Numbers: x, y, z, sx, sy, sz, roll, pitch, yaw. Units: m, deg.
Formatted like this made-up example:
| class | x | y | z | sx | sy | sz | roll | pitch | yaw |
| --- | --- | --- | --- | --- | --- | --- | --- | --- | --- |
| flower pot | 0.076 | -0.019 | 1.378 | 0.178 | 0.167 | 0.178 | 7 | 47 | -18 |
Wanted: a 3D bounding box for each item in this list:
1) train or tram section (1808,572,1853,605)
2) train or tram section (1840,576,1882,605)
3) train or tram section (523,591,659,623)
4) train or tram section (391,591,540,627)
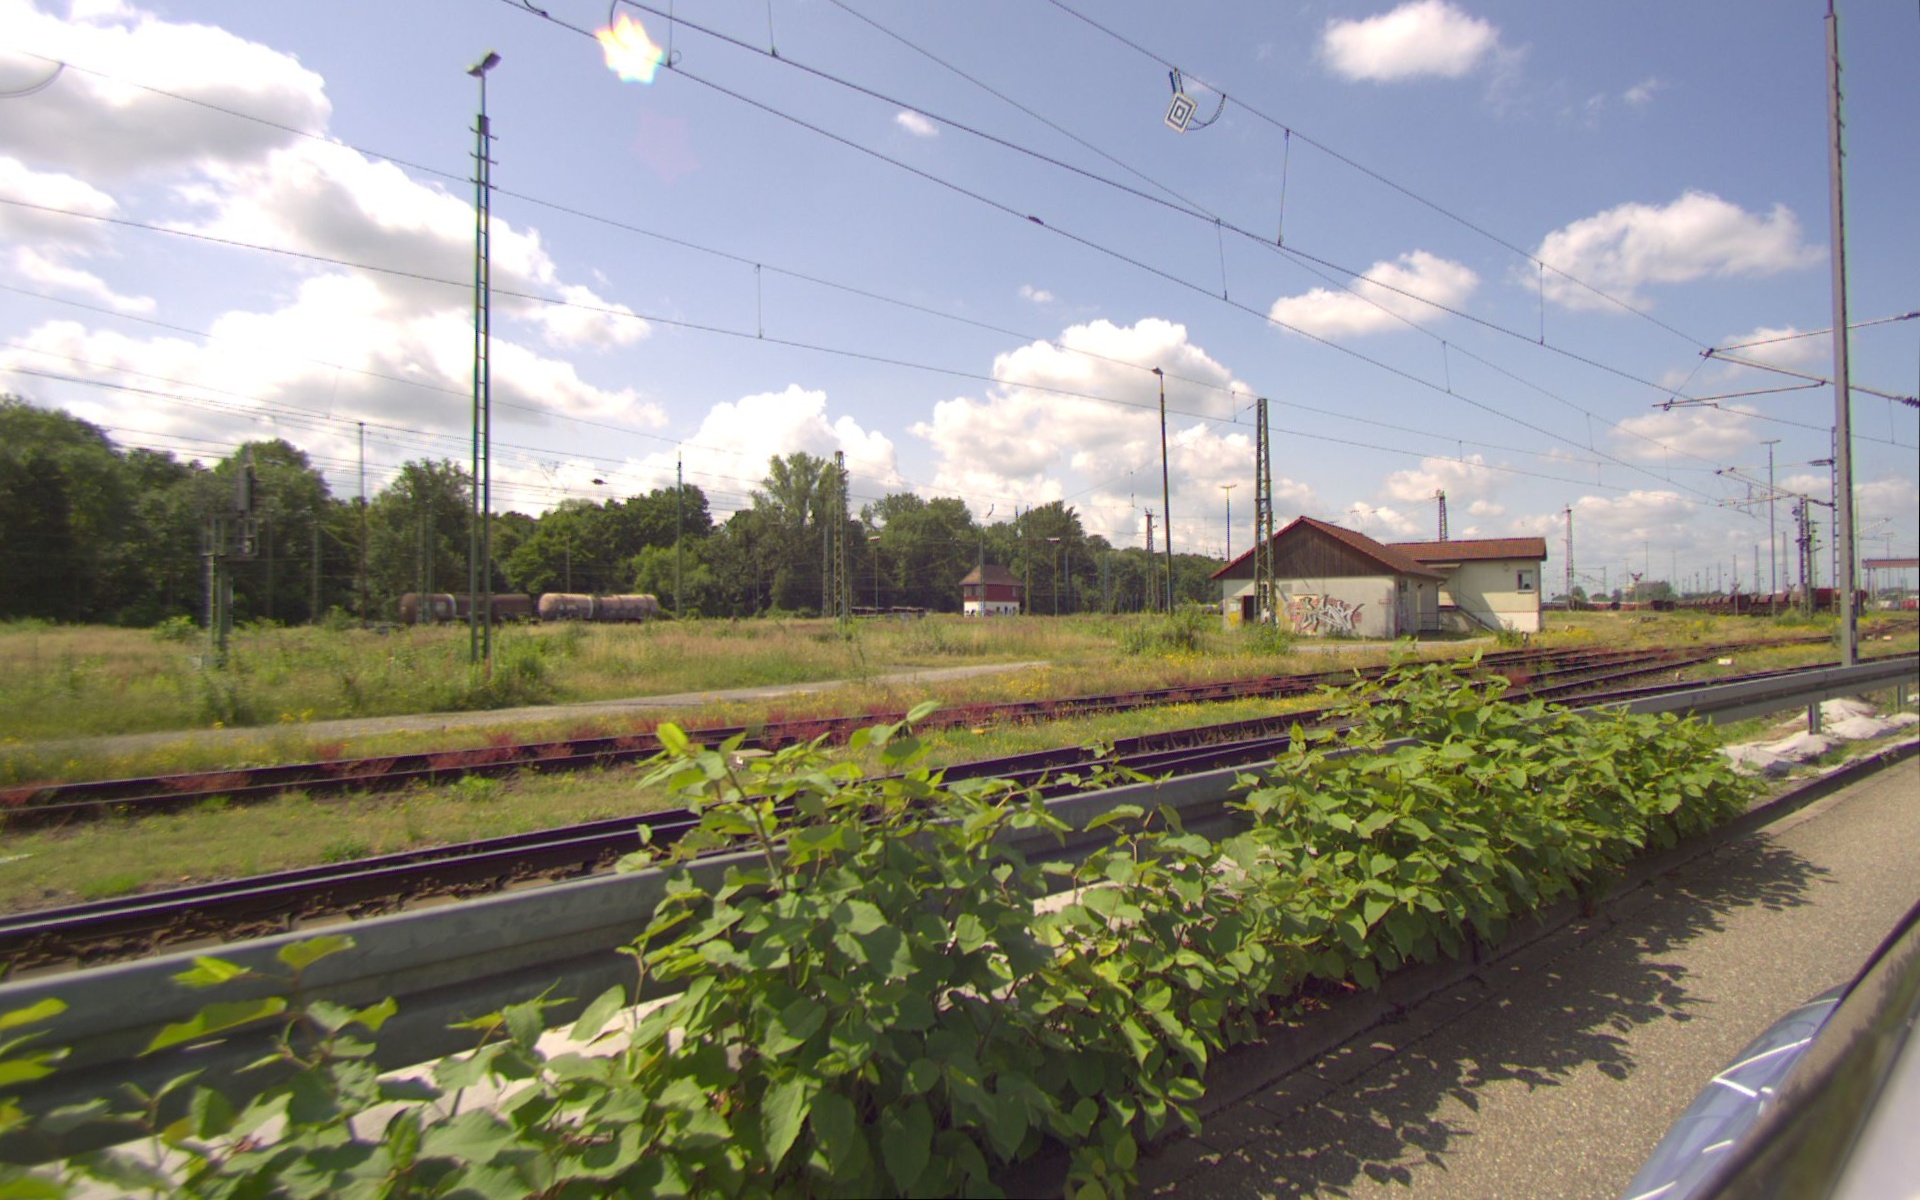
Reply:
| class | x | y | z | sx | sy | sz | roll | pitch | yaw |
| --- | --- | --- | --- | --- | --- | --- | --- | --- | --- |
| train or tram section | 105.794 | -1.339 | 123.175 | 3.283 | 3.765 | 12.382 | -1 | -1 | 37 |
| train or tram section | 123.308 | -1.233 | 138.641 | 3.187 | 3.765 | 12.382 | -1 | -1 | 37 |
| train or tram section | -40.874 | 0.664 | 113.054 | 3.012 | 3.347 | 15.572 | -1 | 0 | 33 |
| train or tram section | -48.881 | 0.824 | 100.749 | 3.012 | 3.347 | 13.773 | -1 | 0 | 33 |
